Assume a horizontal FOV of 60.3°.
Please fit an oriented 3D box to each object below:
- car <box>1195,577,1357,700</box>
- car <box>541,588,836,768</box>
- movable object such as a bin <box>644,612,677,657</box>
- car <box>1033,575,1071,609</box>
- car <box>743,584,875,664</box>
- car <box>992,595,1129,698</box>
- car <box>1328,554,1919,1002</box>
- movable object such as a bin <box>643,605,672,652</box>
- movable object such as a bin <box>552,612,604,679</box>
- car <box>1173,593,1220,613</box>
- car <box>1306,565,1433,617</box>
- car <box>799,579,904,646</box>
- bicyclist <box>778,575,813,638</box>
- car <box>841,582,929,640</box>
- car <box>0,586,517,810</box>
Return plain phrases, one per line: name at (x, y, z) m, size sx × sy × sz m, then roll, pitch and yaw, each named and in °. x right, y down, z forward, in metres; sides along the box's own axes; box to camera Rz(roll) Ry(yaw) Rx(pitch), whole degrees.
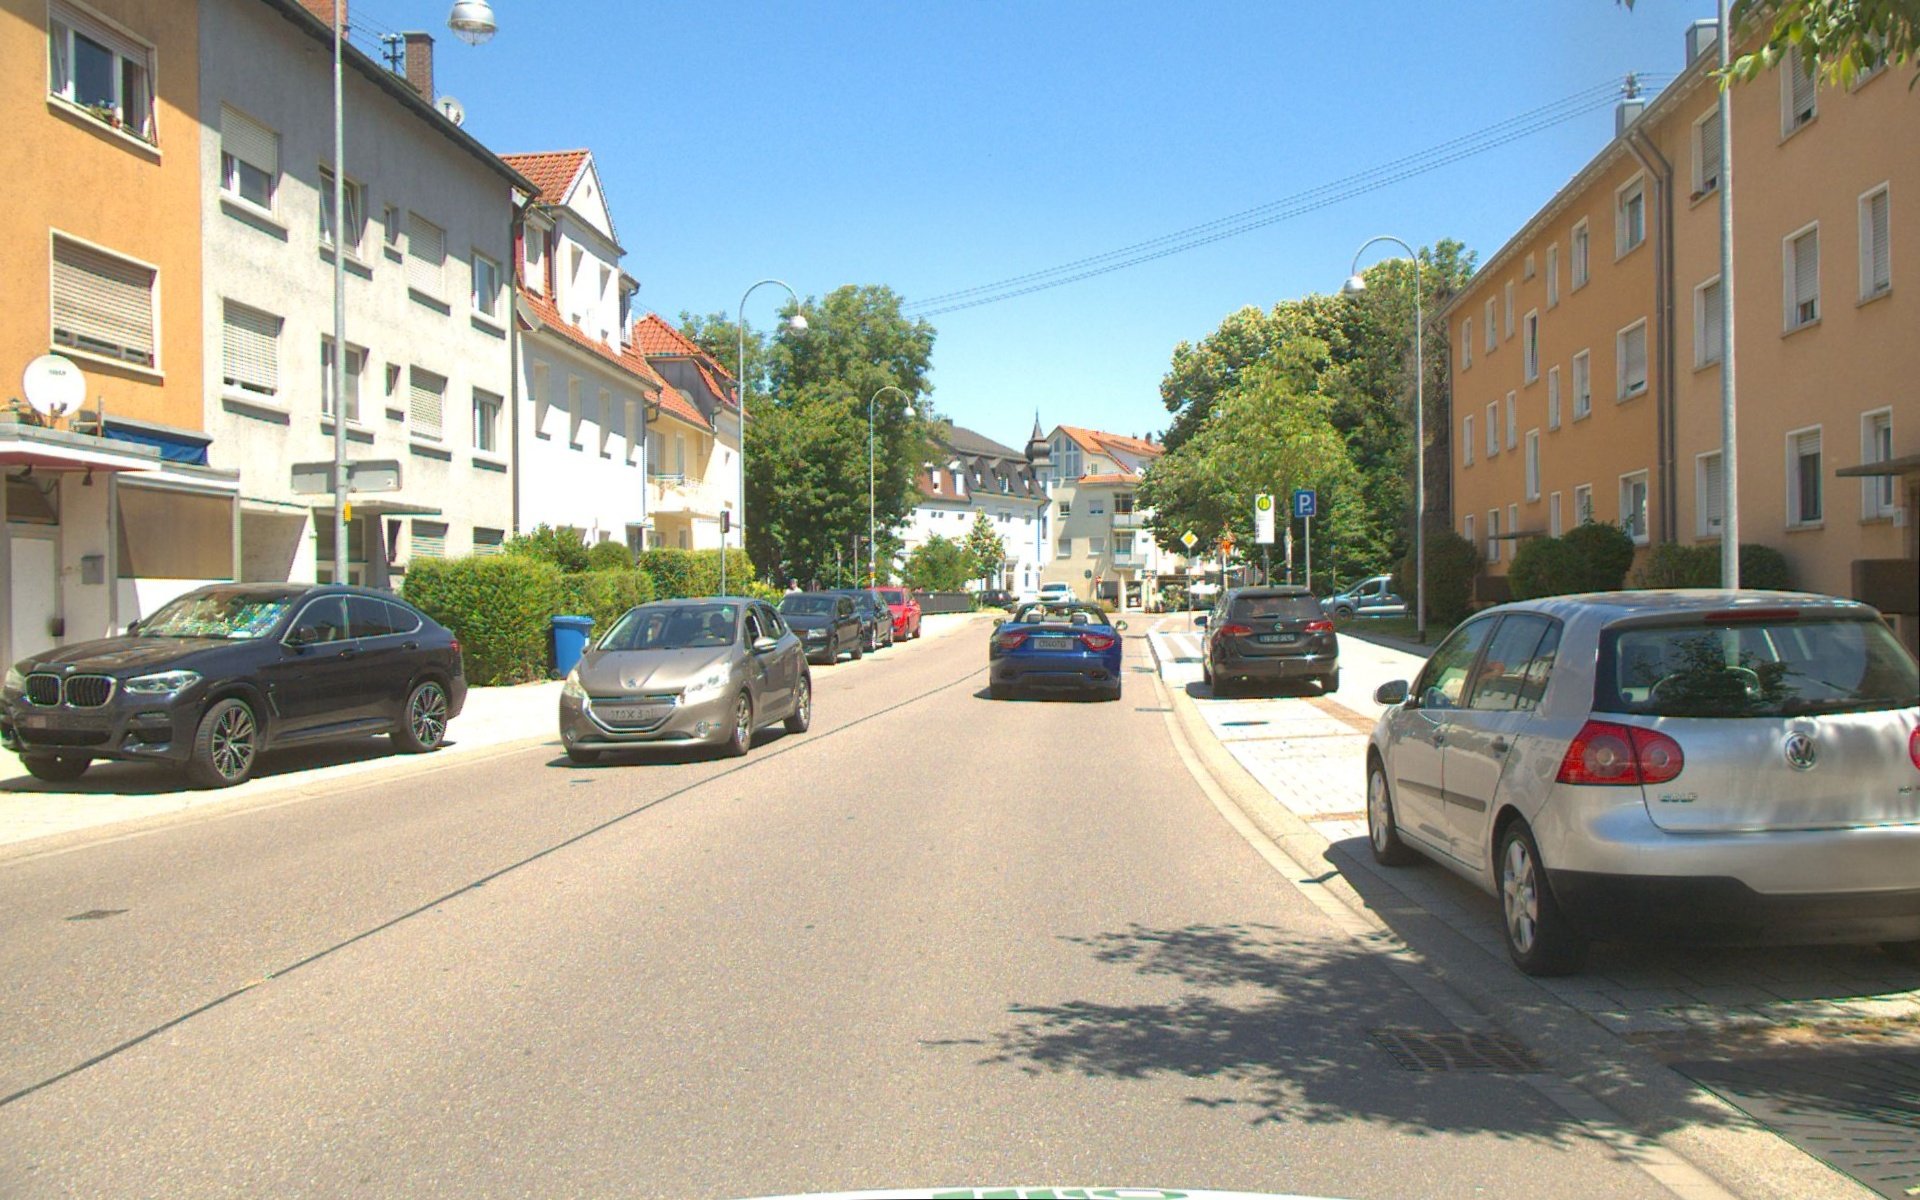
car at (4.538, 0.478, 24.410) m, size 1.795 × 1.530 × 5.067 m, roll -3°, pitch 0°, yaw 5°
car at (-2.525, 0.670, 16.409) m, size 1.694 × 1.436 × 4.004 m, roll -3°, pitch 1°, yaw 8°
movable object such as a bin at (-6.316, 0.723, 34.889) m, size 0.483 × 0.927 × 0.706 m, roll -1°, pitch 0°, yaw 6°
car at (4.782, -0.444, 85.676) m, size 1.838 × 1.624 × 4.362 m, roll -2°, pitch 1°, yaw 4°
car at (-3.147, 0.460, 35.316) m, size 1.749 × 1.484 × 4.202 m, roll 2°, pitch 1°, yaw 10°
car at (1.553, 0.615, 24.436) m, size 1.831 × 1.365 × 4.599 m, roll 0°, pitch 0°, yaw 5°
car at (3.127, 0.613, 7.968) m, size 1.776 × 1.502 × 4.508 m, roll -2°, pitch 0°, yaw 2°
movable object such as a bin at (-6.680, 0.622, 36.503) m, size 0.457 × 1.007 × 0.614 m, roll -1°, pitch 0°, yaw 6°
movable object such as a bin at (-6.439, 0.761, 27.889) m, size 0.658 × 1.066 × 0.652 m, roll -2°, pitch 0°, yaw 5°
car at (18.844, 0.229, 131.659) m, size 1.688 × 1.486 × 4.102 m, roll 2°, pitch 0°, yaw 43°
car at (15.115, -0.325, 61.184) m, size 4.250 × 1.871 × 1.749 m, roll 0°, pitch 0°, yaw -3°
car at (-2.657, 0.262, 41.775) m, size 1.824 × 1.487 × 5.311 m, roll 1°, pitch 1°, yaw 5°
bicyclist at (-4.508, 0.173, 45.373) m, size 0.765 × 1.688 × 0.836 m, roll -1°, pitch 0°, yaw 4°
car at (-2.093, 0.273, 47.675) m, size 1.838 × 1.505 × 4.741 m, roll 2°, pitch 1°, yaw 6°
car at (-6.311, 0.720, 15.280) m, size 2.041 × 1.642 × 5.113 m, roll 0°, pitch 1°, yaw 15°
